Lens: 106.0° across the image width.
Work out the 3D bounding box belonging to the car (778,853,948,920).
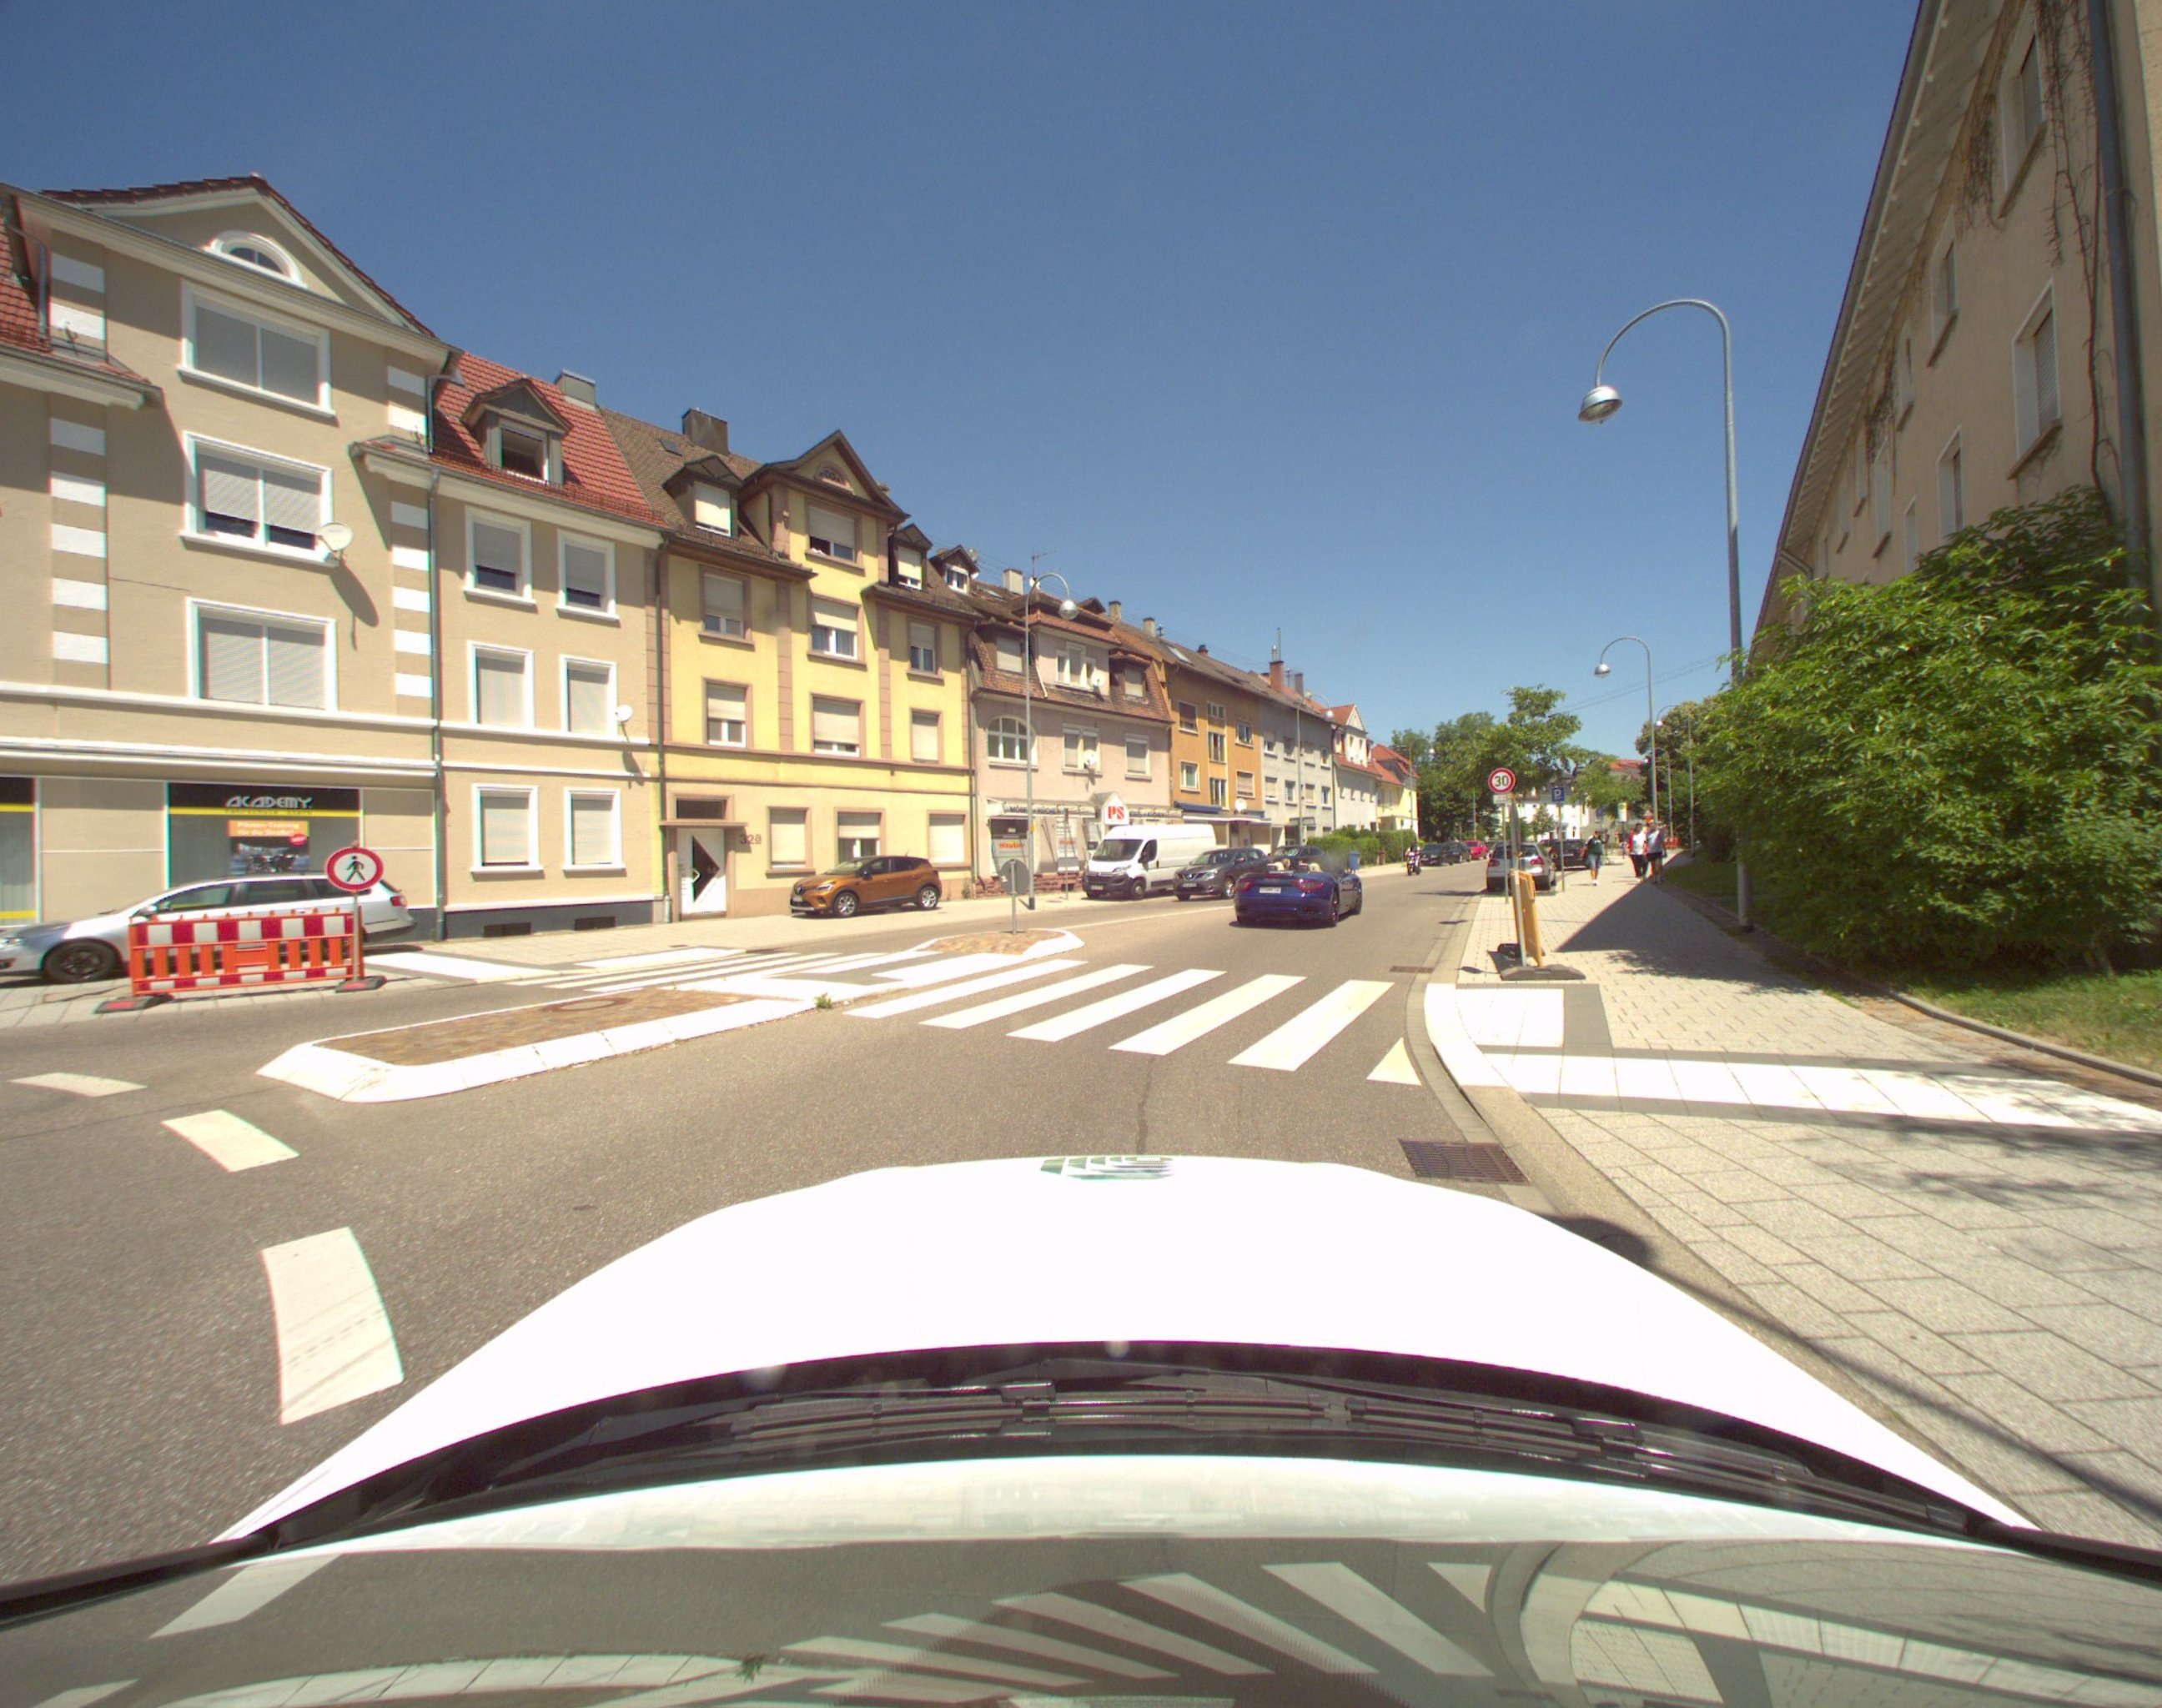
[{"bbox_3d":[-5.842,0.808,22.210,1.777,1.541,4.141,-1,1,41],"label":"car"}]

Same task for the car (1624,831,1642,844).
[{"bbox_3d":[75.055,-2.223,110.670,1.859,1.597,4.388,-4,-1,36],"label":"car"}]

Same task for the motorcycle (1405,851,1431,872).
[{"bbox_3d":[16.376,0.360,39.561,0.600,1.000,1.811,-2,-1,40],"label":"motorcycle"}]

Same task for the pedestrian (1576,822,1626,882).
[{"bbox_3d":[16.122,-0.045,25.278,1.159,1.733,1.199,-5,-3,32],"label":"pedestrian"}]

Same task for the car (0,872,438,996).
[{"bbox_3d":[-14.100,1.161,13.622,1.777,1.503,4.977,-1,1,42],"label":"car"}]

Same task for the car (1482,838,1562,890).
[{"bbox_3d":[14.110,0.290,25.912,1.795,1.477,4.536,-4,-2,33],"label":"car"}]

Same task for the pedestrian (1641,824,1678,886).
[{"bbox_3d":[17.057,0.035,24.041,0.786,1.778,1.015,-3,0,33],"label":"pedestrian"}]

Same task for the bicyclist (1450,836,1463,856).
[{"bbox_3d":[31.723,-0.695,68.774,0.774,1.659,0.840,-3,-1,35],"label":"bicyclist"}]

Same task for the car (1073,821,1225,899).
[{"bbox_3d":[2.550,0.119,28.654,2.099,2.449,6.156,0,1,40],"label":"car"}]

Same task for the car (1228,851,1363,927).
[{"bbox_3d":[4.581,0.629,16.887,1.853,1.342,4.623,0,0,26],"label":"car"}]

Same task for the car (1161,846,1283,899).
[{"bbox_3d":[4.606,0.560,26.096,1.778,1.489,4.418,-5,-2,41],"label":"car"}]

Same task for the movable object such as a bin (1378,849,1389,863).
[{"bbox_3d":[20.125,0.122,54.145,0.489,0.912,0.710,-3,0,37],"label":"movable object such as a bin"}]

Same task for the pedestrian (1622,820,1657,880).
[{"bbox_3d":[17.621,-0.134,25.719,0.780,1.811,1.012,-5,-2,33],"label":"pedestrian"}]

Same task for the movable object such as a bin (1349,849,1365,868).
[{"bbox_3d":[16.307,0.252,48.087,0.666,1.048,0.656,-3,-1,37],"label":"movable object such as a bin"}]

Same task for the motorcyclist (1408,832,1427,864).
[{"bbox_3d":[16.363,-0.276,39.578,0.595,1.524,0.901,-2,-1,39],"label":"motorcyclist"}]

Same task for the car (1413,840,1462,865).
[{"bbox_3d":[23.135,-0.112,52.792,1.771,1.459,4.224,2,3,41],"label":"car"}]

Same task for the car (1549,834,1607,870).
[{"bbox_3d":[24.068,-0.149,39.331,1.815,1.504,5.096,-5,-1,37],"label":"car"}]

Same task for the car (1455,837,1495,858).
[{"bbox_3d":[30.393,-0.513,62.817,1.859,1.479,4.768,1,2,37],"label":"car"}]

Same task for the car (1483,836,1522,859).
[{"bbox_3d":[29.016,-0.462,56.060,1.714,1.411,4.026,-4,-1,36],"label":"car"}]

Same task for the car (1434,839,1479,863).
[{"bbox_3d":[26.821,-0.249,58.053,1.845,1.461,5.341,0,2,37],"label":"car"}]

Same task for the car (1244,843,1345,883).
[{"bbox_3d":[9.810,0.349,37.226,5.138,1.614,2.066,-2,2,-44],"label":"car"}]
